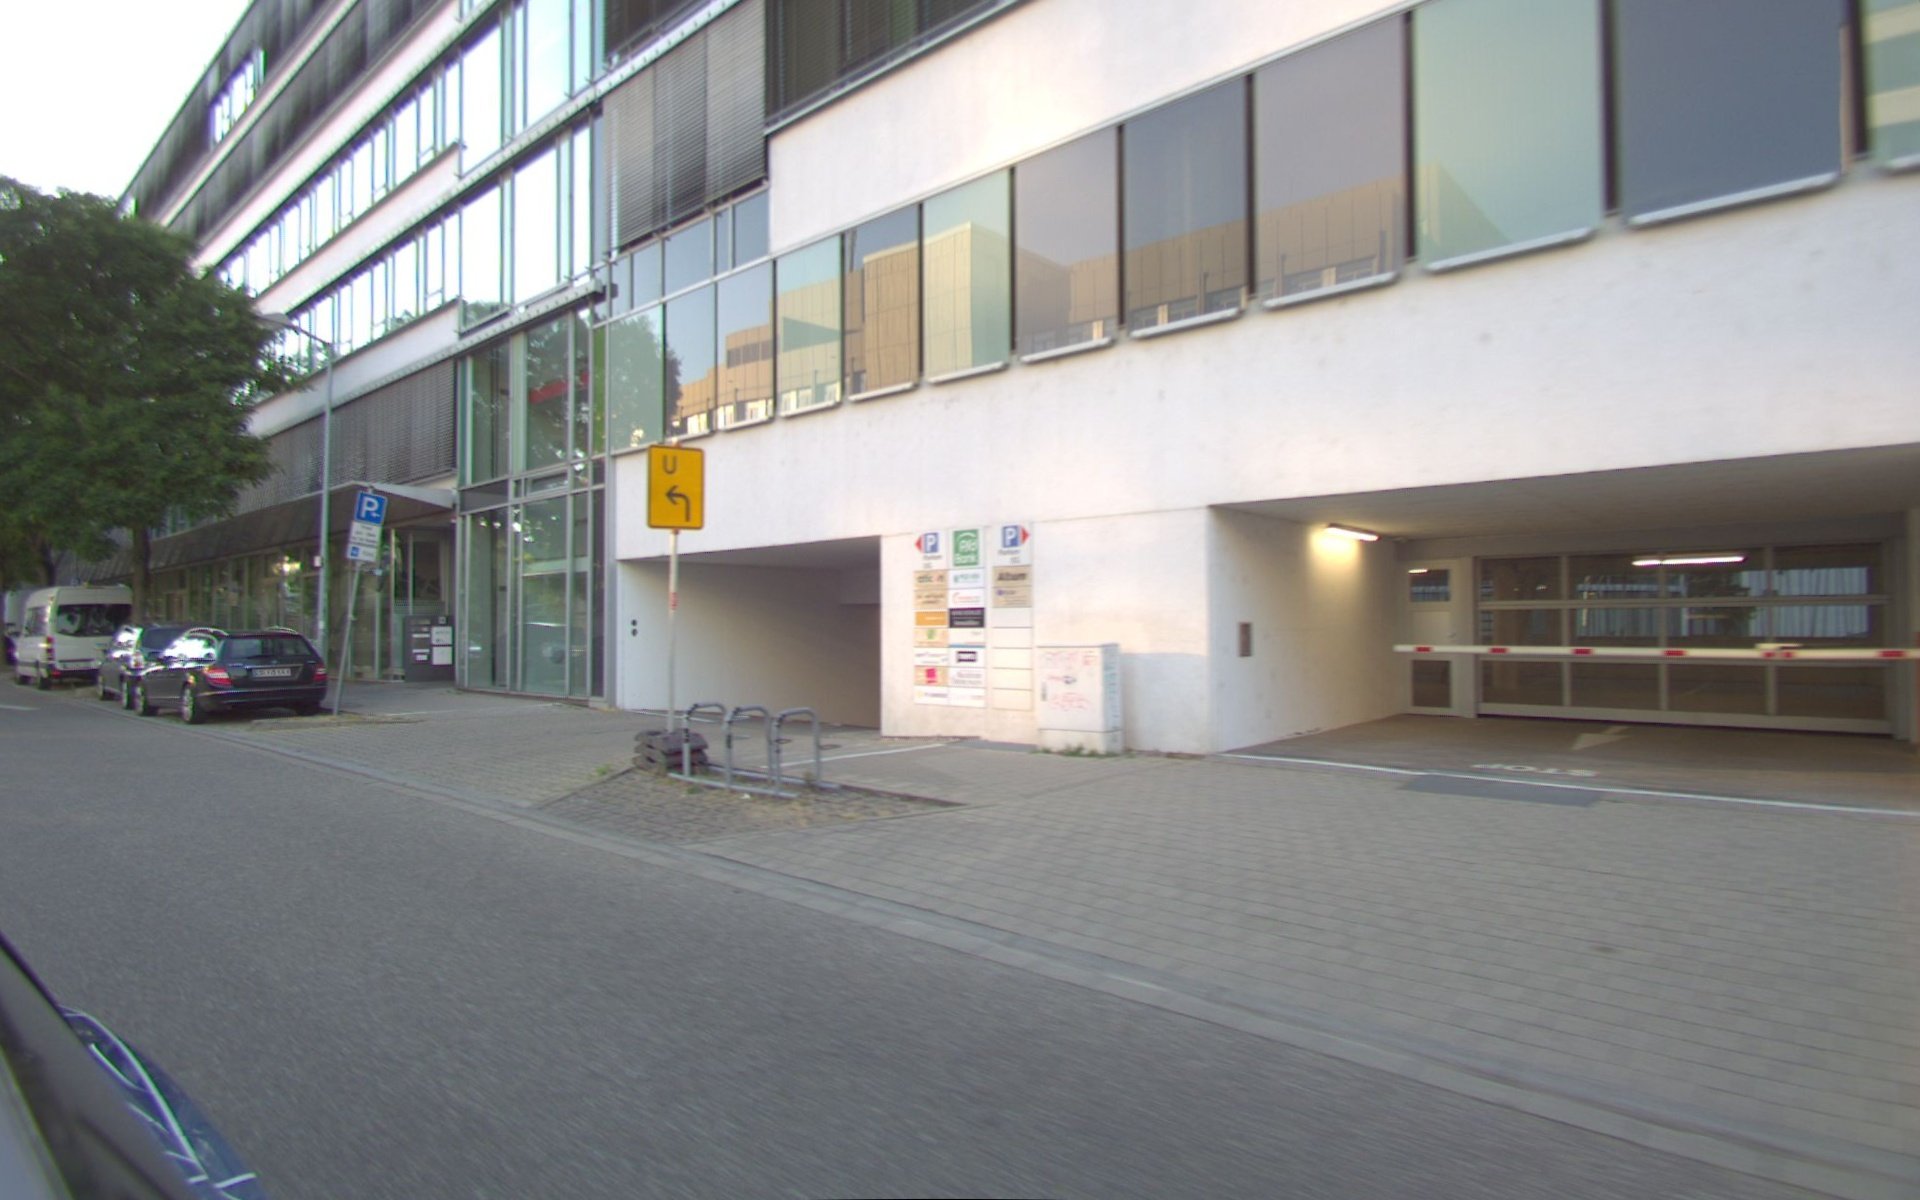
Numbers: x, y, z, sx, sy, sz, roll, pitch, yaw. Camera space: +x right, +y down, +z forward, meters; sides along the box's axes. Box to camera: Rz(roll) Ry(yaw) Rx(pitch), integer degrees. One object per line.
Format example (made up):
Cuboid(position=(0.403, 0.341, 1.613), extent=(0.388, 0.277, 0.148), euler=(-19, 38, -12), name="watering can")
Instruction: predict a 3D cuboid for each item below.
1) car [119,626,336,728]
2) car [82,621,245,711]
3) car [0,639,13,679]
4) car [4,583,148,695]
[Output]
Cuboid(position=(-12.117, 1.209, 16.650), extent=(4.391, 1.463, 1.699), euler=(-3, -2, 37), name="car")
Cuboid(position=(-15.932, 1.269, 20.172), extent=(4.265, 1.583, 1.824), euler=(-3, -2, 41), name="car")
Cuboid(position=(-40.864, 2.507, 42.184), extent=(4.469, 1.580, 1.573), euler=(-3, 0, 41), name="car")
Cuboid(position=(-24.115, 1.071, 27.472), extent=(6.948, 2.684, 2.078), euler=(-3, -2, 42), name="car")
